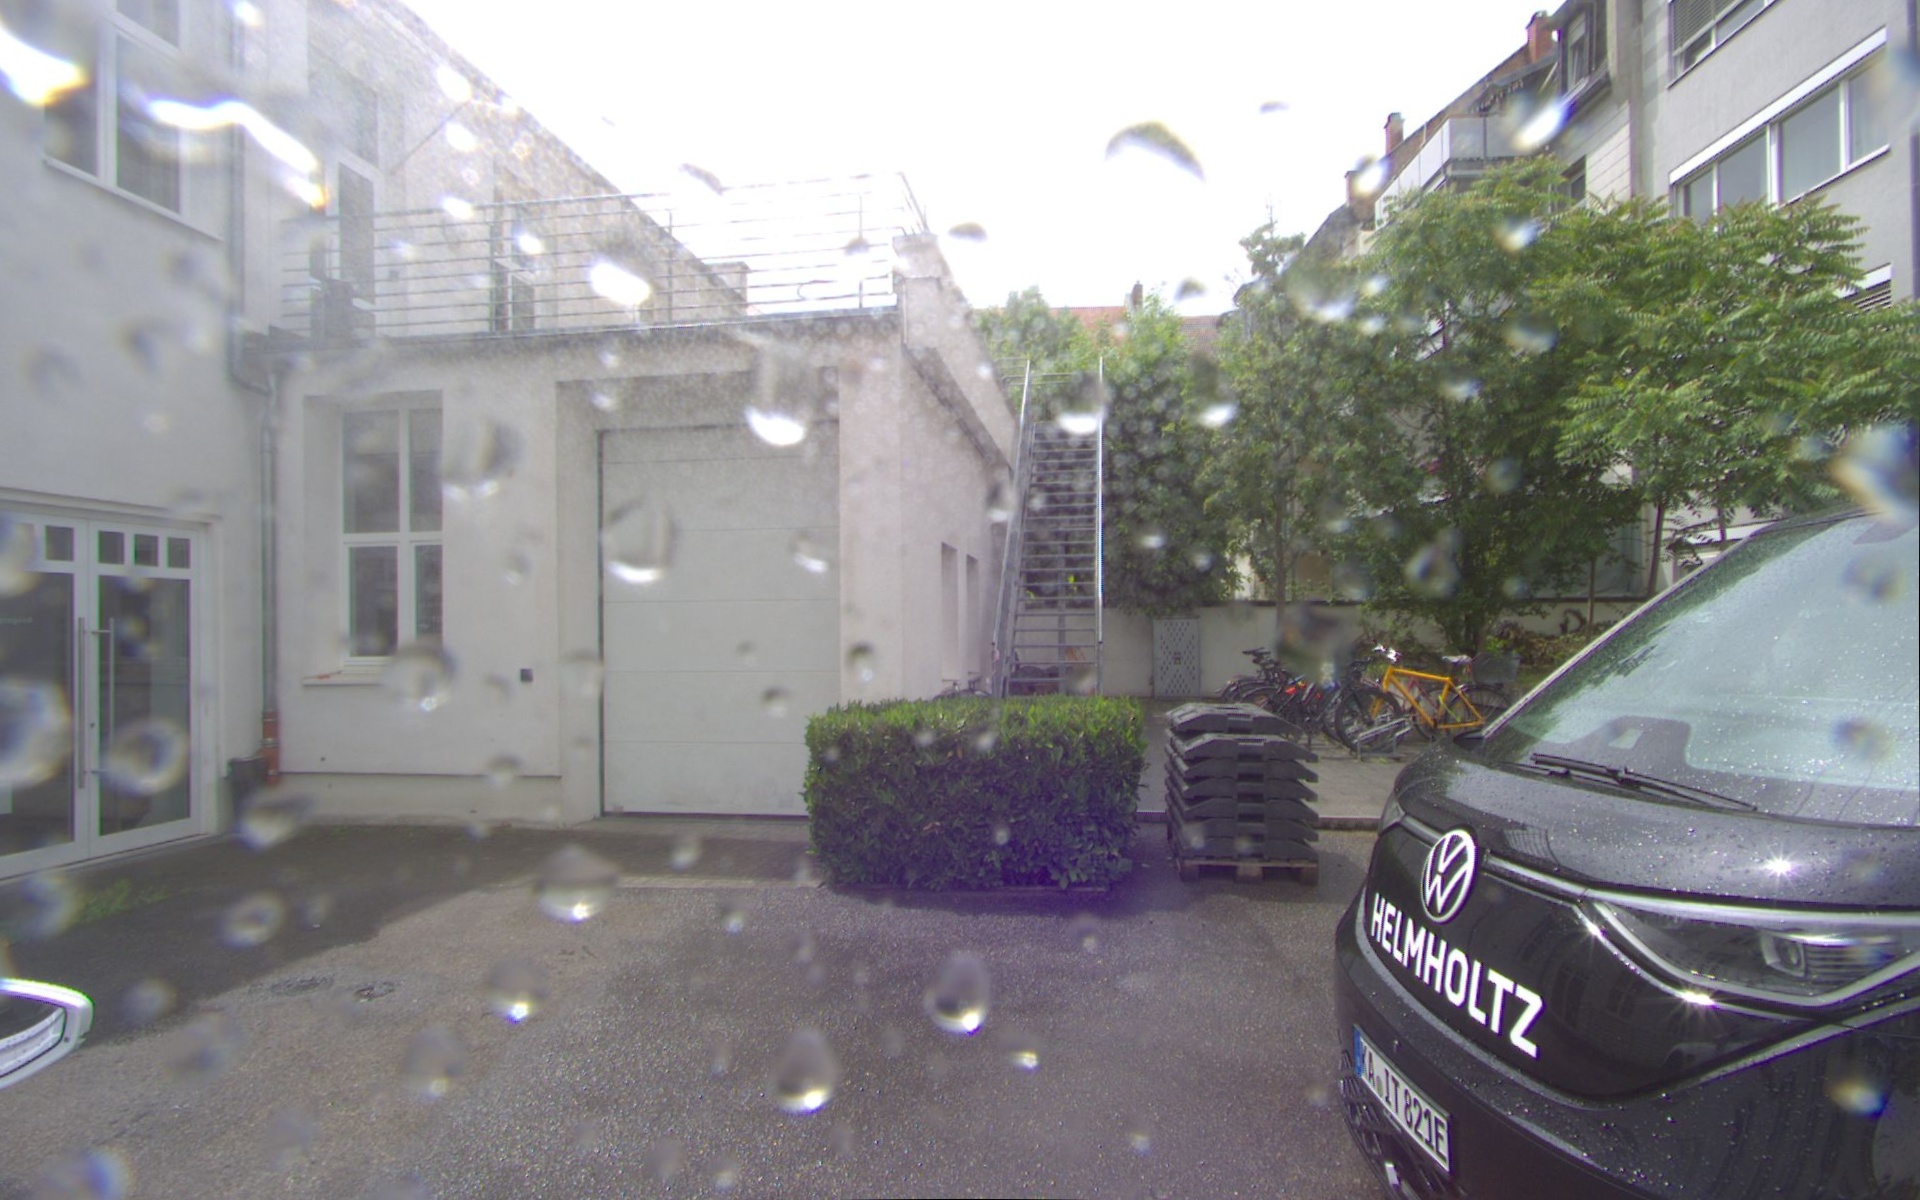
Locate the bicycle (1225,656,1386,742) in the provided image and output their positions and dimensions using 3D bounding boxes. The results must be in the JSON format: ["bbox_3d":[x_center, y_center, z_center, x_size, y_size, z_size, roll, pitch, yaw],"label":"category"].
[{"bbox_3d":[4.040,1.161,11.765,1.761,0.980,0.330,0,0,2],"label":"bicycle"}]

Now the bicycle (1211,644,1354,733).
[{"bbox_3d":[4.154,1.133,12.940,1.721,1.118,0.346,0,0,2],"label":"bicycle"}]

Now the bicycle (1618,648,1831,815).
[{"bbox_3d":[6.020,0.984,8.017,0.438,1.118,1.796,-3,-1,6],"label":"bicycle"}]

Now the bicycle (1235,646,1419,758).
[{"bbox_3d":[3.810,1.047,10.491,1.762,1.118,0.405,0,0,10],"label":"bicycle"}]

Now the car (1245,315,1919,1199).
[{"bbox_3d":[3.215,0.595,2.080,4.655,1.888,1.971,-1,-1,1],"label":"car"}]

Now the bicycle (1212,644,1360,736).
[{"bbox_3d":[4.042,1.118,12.464,1.721,1.118,0.343,0,0,2],"label":"bicycle"}]

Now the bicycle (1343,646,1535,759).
[{"bbox_3d":[4.955,1.046,10.418,1.762,1.118,0.367,0,0,10],"label":"bicycle"}]

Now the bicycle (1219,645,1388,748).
[{"bbox_3d":[3.849,1.076,11.301,1.762,1.118,0.354,0,0,10],"label":"bicycle"}]

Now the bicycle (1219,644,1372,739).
[{"bbox_3d":[4.042,1.104,12.109,1.721,1.118,0.333,0,0,2],"label":"bicycle"}]

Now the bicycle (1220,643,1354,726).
[{"bbox_3d":[4.499,1.163,13.809,1.721,1.118,0.342,0,0,2],"label":"bicycle"}]

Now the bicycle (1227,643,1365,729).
[{"bbox_3d":[4.491,1.149,13.441,1.721,1.118,0.355,0,0,2],"label":"bicycle"}]
